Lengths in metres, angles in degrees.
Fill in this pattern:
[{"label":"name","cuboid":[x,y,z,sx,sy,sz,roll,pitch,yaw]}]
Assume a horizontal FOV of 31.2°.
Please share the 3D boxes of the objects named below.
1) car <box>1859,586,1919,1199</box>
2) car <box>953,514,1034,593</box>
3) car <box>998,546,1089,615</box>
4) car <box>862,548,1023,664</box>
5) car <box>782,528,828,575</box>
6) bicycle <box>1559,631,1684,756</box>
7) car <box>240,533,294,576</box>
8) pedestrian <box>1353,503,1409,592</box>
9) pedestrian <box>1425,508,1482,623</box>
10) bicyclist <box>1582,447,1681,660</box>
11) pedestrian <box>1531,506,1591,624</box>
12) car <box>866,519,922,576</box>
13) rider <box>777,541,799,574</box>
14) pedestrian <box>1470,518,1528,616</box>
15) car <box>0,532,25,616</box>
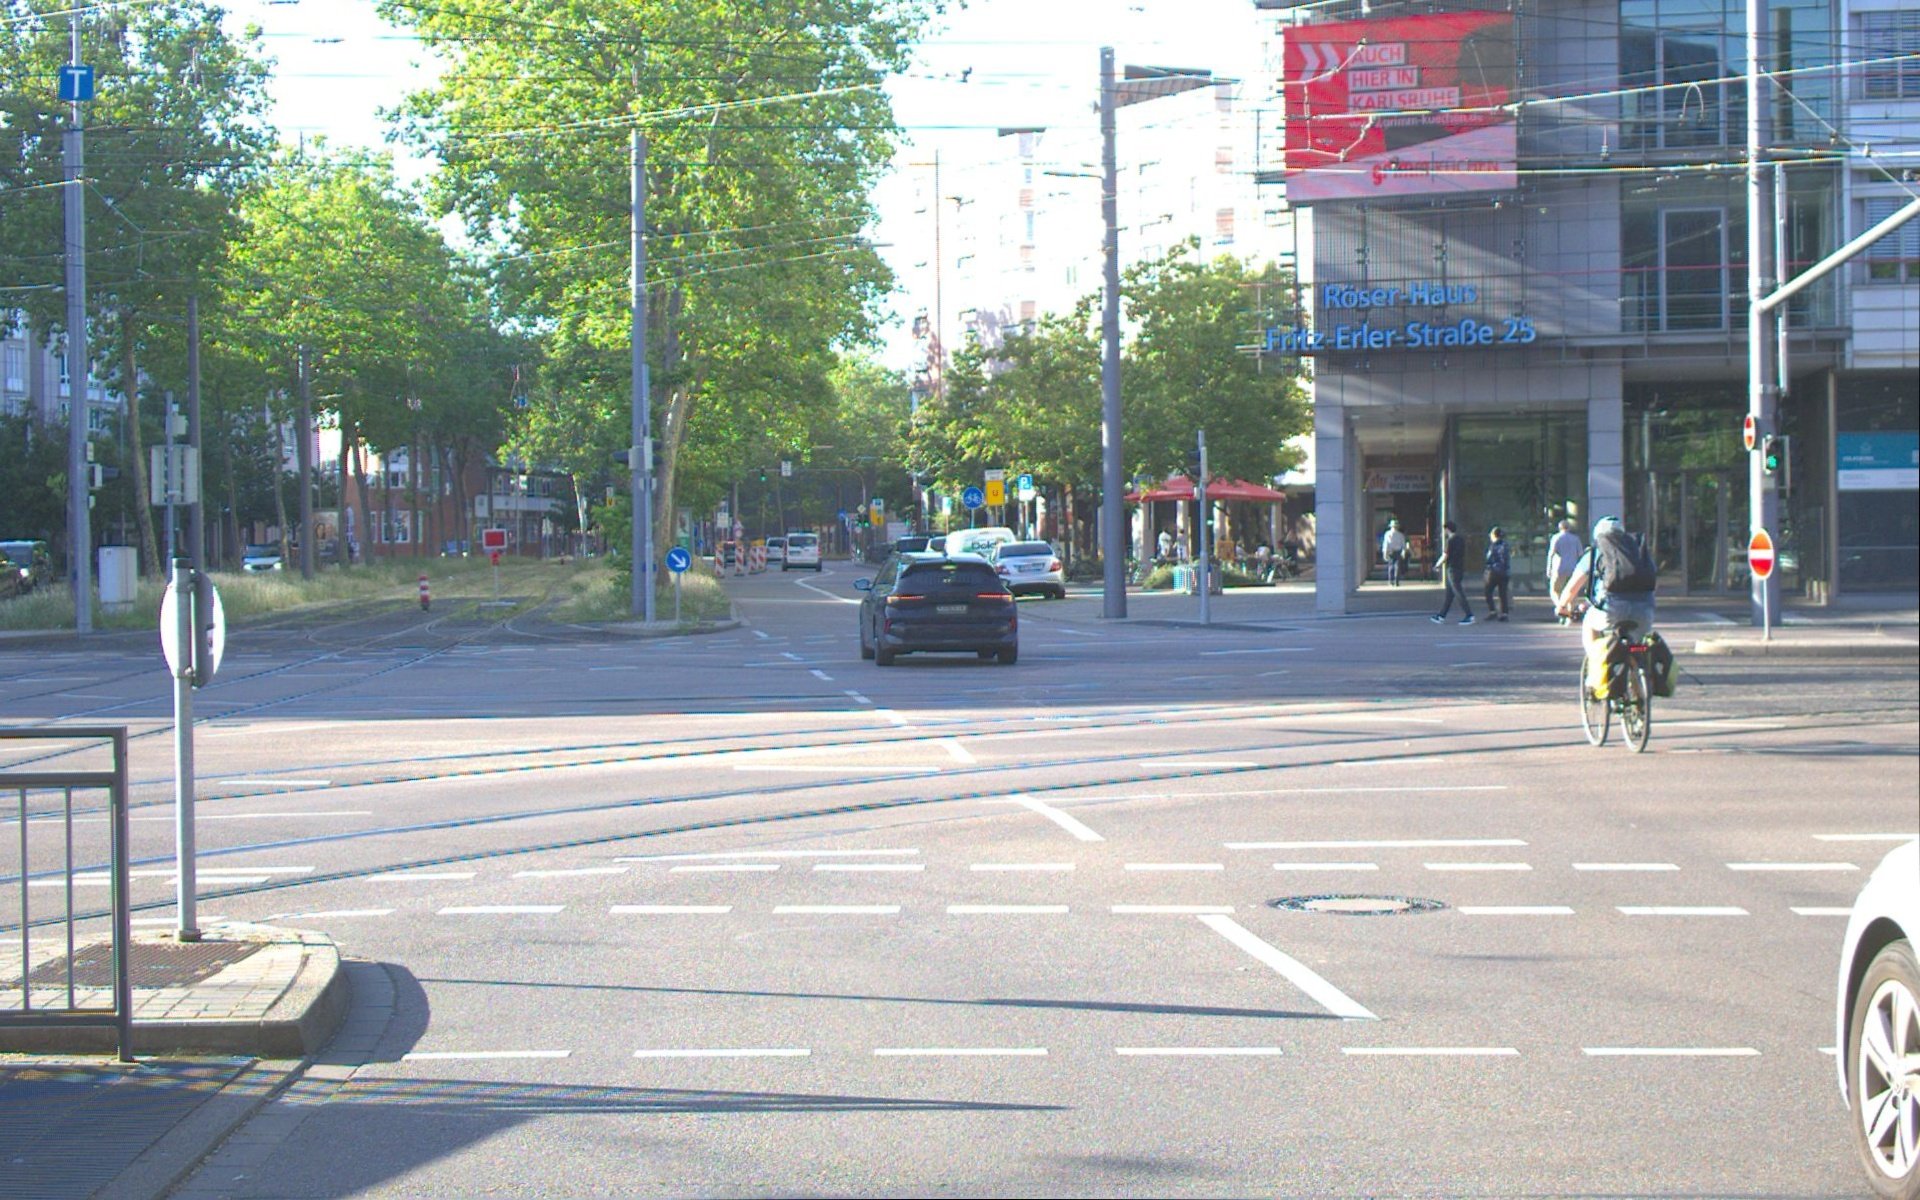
[{"label":"car","cuboid":[3.006,0.722,6.293,1.748,1.413,4.000,0,1,1]},{"label":"car","cuboid":[0.858,-1.205,89.803,1.993,2.007,4.000,1,1,-1]},{"label":"car","cuboid":[1.979,-0.471,82.779,2.029,1.590,4.000,1,1,-1]},{"label":"car","cuboid":[-0.274,0.038,44.105,1.763,1.399,4.297,0,1,-4]},{"label":"car","cuboid":[-7.508,-2.331,166.712,1.993,2.007,3.999,1,-3,1]},{"label":"bicycle","cuboid":[4.605,0.636,24.022,0.490,0.785,1.862,0,1,-1]},{"label":"car","cuboid":[-26.527,-1.739,131.630,1.676,1.601,4.001,1,1,-6]},{"label":"pedestrian","cuboid":[10.507,-1.313,85.835,1.313,2.182,1.170,1,0,6]},{"label":"pedestrian","cuboid":[8.682,-0.612,60.498,0.849,2.007,0.708,1,0,-1]},{"label":"bicyclist","cuboid":[4.647,-0.322,23.813,0.486,1.434,0.615,3,0,-1]},{"label":"pedestrian","cuboid":[10.367,-0.603,59.321,0.869,2.007,0.794,1,0,-1]},{"label":"car","cuboid":[-2.405,-1.926,126.685,1.993,2.007,4.000,1,1,-1]},{"label":"rider","cuboid":[-10.525,-2.594,210.902,1.270,2.007,0.956,1,0,-6]},{"label":"pedestrian","cuboid":[9.508,-0.586,60.660,0.869,1.702,0.794,1,0,-1]},{"label":"car","cuboid":[-21.633,-0.569,74.907,1.822,1.784,4.001,-1,1,-7]}]
